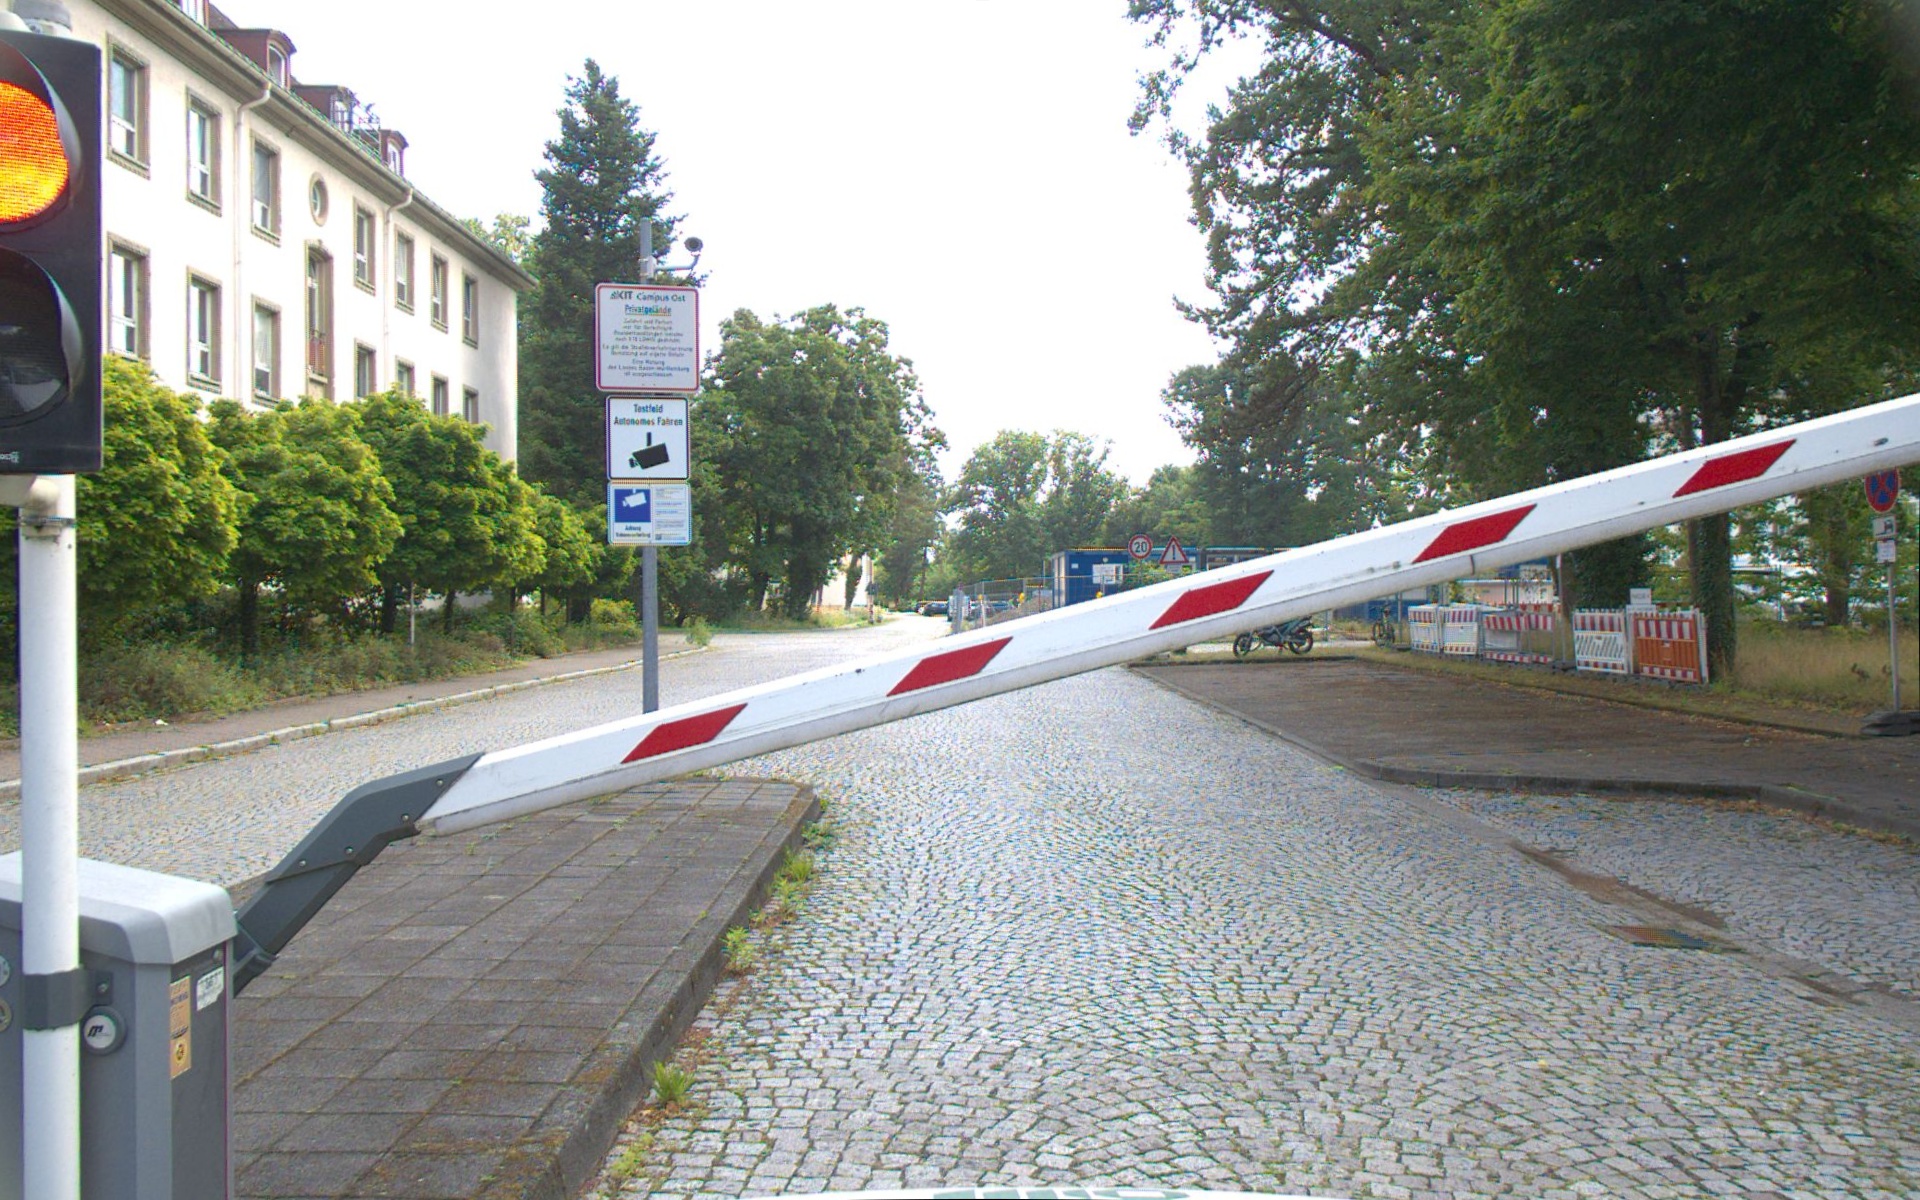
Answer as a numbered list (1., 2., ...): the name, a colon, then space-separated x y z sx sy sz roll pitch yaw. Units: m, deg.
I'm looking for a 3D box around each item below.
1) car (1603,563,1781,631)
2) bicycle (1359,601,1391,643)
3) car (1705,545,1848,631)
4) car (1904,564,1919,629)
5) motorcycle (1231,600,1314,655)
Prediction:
1. car: 20.562 -0.059 46.583 4.132 1.852 2.000 0 -1 2
2. bicycle: 10.489 0.572 41.805 0.325 1.025 1.725 -1 -2 -1
3. car: 24.929 -0.316 50.746 1.952 2.466 5.358 0 -1 3
4. car: 26.243 -0.116 40.875 1.971 1.679 4.795 0 -1 -28
5. motorcycle: 7.601 0.667 40.221 1.917 1.215 0.461 -2 5 -2
